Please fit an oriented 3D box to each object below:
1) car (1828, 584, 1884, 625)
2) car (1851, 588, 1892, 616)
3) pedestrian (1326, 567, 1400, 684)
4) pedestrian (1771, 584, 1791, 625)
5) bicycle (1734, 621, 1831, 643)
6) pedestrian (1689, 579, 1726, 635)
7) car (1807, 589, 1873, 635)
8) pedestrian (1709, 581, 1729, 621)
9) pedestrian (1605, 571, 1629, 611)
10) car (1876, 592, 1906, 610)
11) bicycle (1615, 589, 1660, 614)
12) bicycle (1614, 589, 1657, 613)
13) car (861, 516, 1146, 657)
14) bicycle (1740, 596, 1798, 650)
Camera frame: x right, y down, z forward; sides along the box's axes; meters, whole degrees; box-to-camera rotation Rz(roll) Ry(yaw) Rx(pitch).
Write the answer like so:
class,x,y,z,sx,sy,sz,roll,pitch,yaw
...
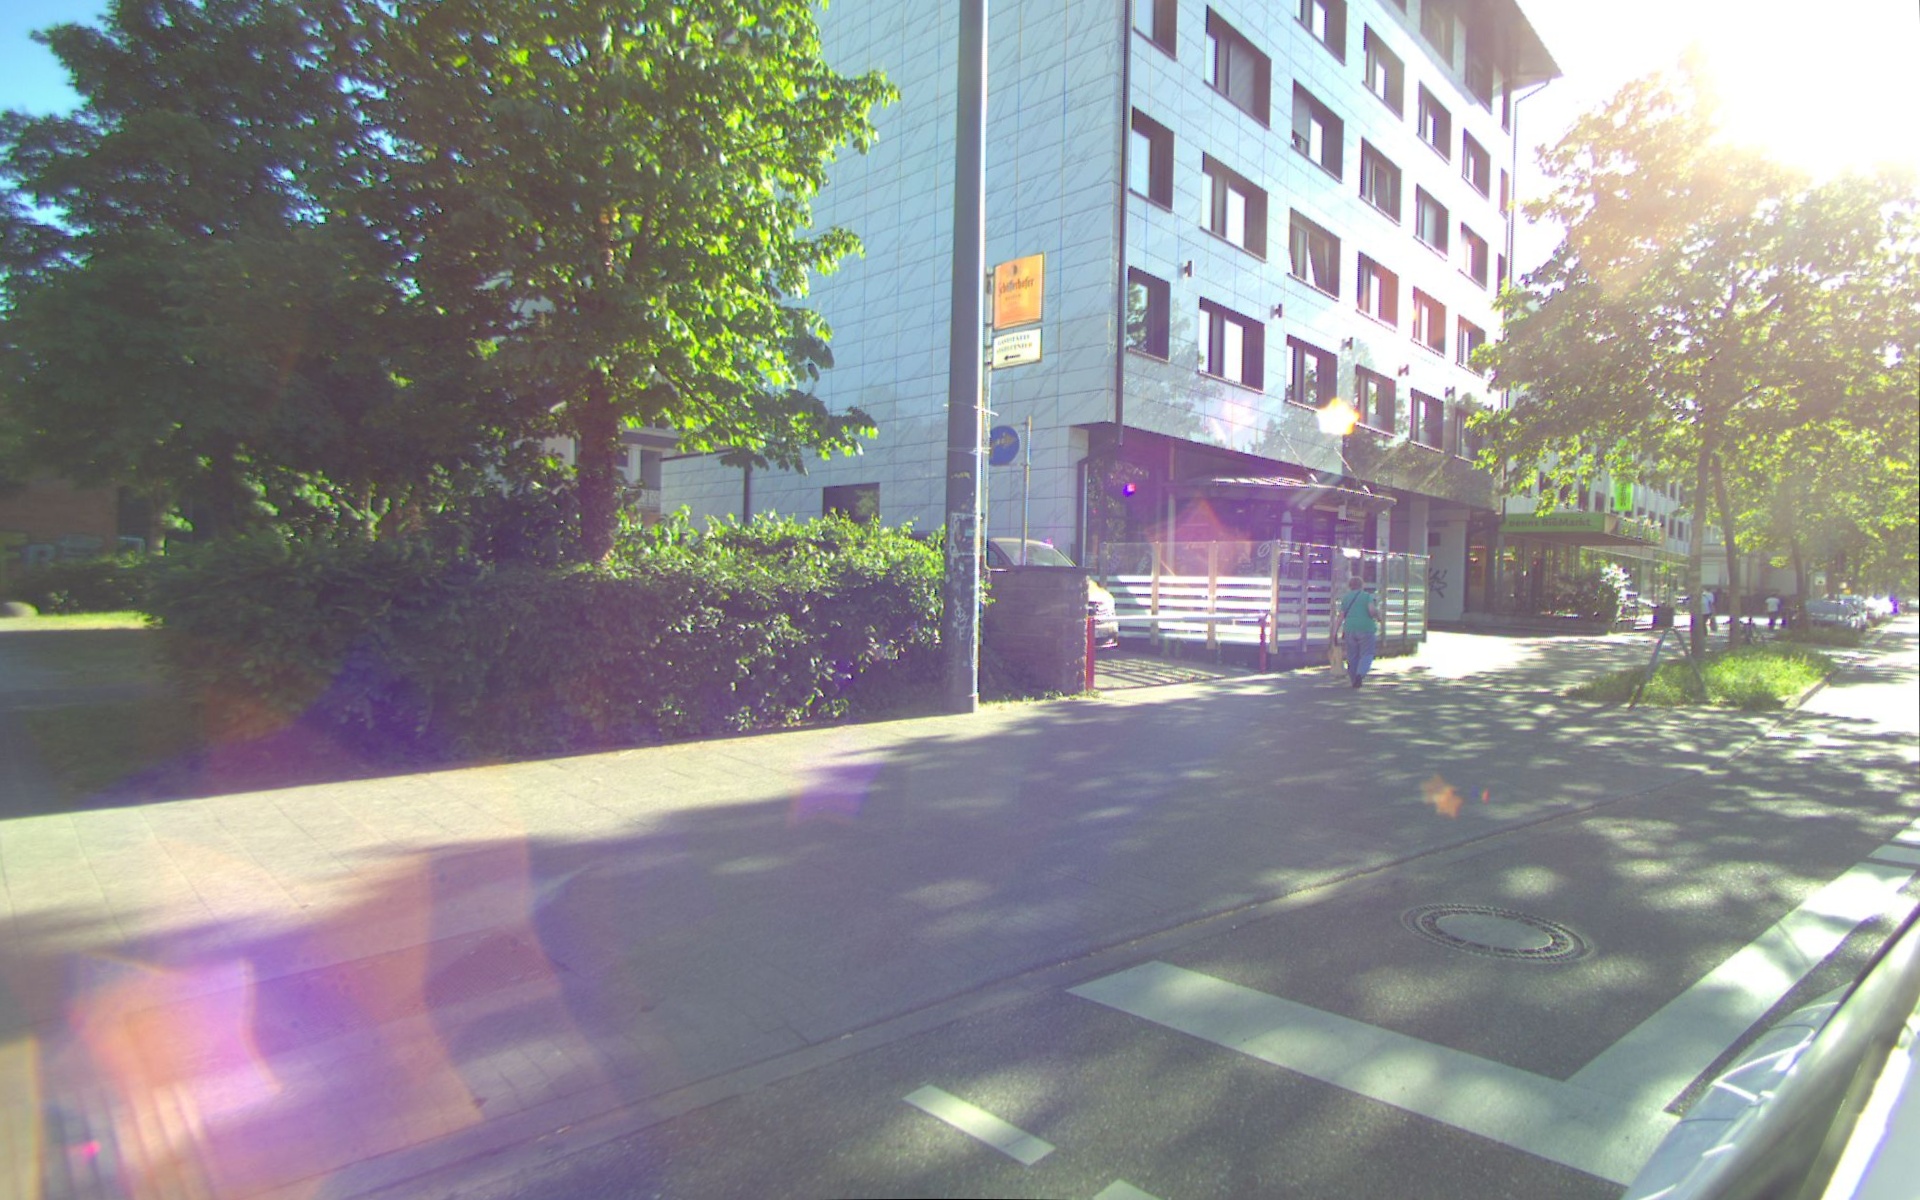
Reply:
class,x,y,z,sx,sy,sz,roll,pitch,yaw
car,43.278,0.182,48.840,1.765,1.814,4.322,3,2,44
car,53.756,0.107,59.653,1.673,1.455,3.633,5,5,43
pedestrian,5.748,0.336,14.479,0.726,1.595,0.831,2,2,6
pedestrian,35.559,0.172,43.828,0.560,1.725,1.035,3,2,44
bicycle,18.933,0.725,23.292,1.609,0.357,1.366,3,2,45
pedestrian,22.709,0.211,30.750,0.853,1.632,0.699,0,3,-44
car,32.211,0.399,37.019,1.565,1.569,3.936,2,2,44
pedestrian,34.186,0.056,45.562,0.560,1.766,0.865,3,2,44
pedestrian,30.628,-0.426,47.195,0.606,1.735,0.609,8,4,20
car,82.187,0.083,89.310,1.835,1.584,4.206,1,1,44
bicycle,32.489,0.072,48.544,0.573,1.068,1.710,3,2,-19
bicycle,33.014,0.044,49.494,0.573,1.068,1.710,2,3,-19
car,0.601,-0.353,17.537,1.882,2.008,4.902,0,5,-45
bicycle,18.770,0.513,23.523,0.784,1.147,1.826,2,2,31
